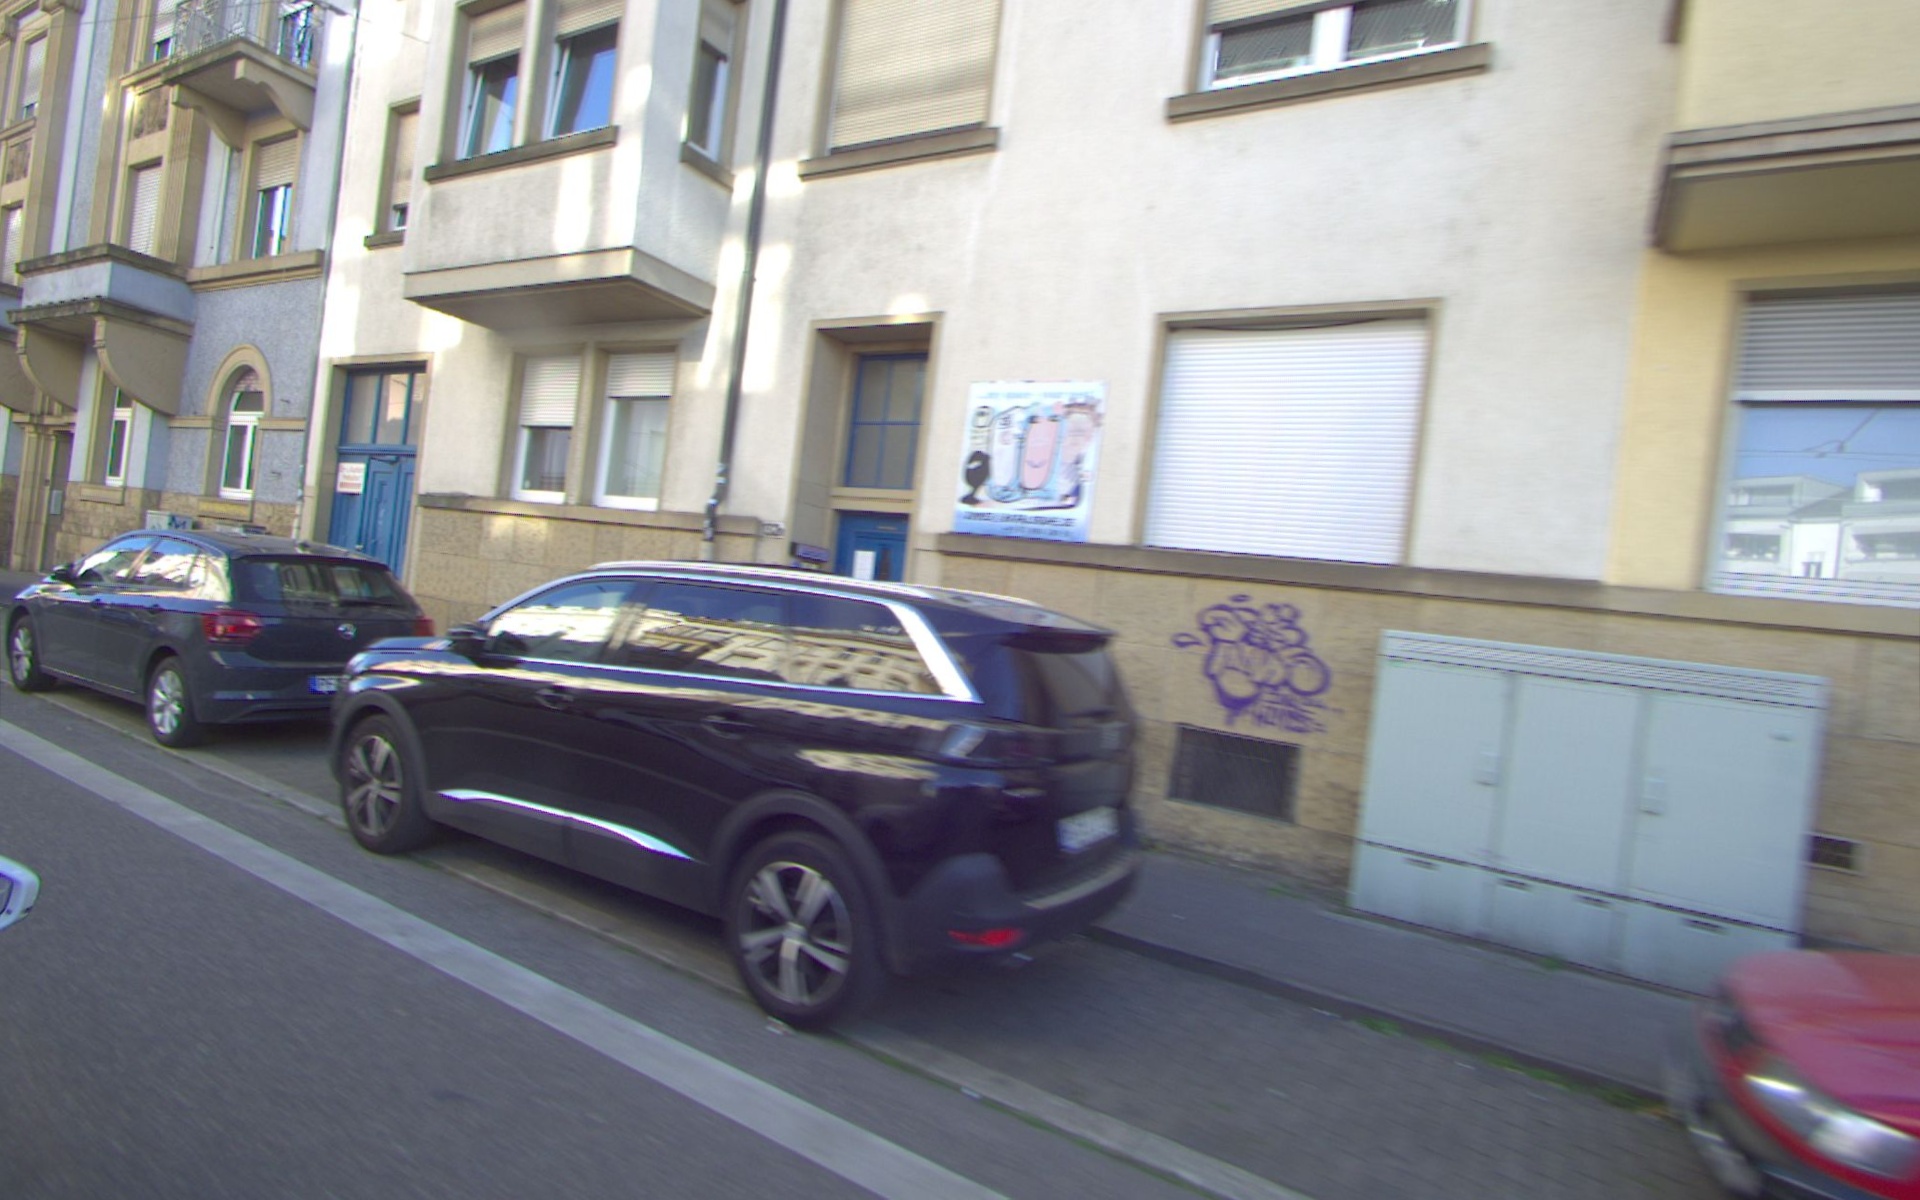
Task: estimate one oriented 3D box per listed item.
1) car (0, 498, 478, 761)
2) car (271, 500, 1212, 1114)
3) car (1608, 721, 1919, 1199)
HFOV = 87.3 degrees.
[{"bbox_3d":[-5.900,0.147,7.977,3.965,1.459,1.740,7,-1,31],"label":"car"},{"bbox_3d":[-1.302,0.588,5.055,4.487,1.685,1.861,7,-1,33],"label":"car"},{"bbox_3d":[4.030,1.337,1.834,4.633,1.473,1.861,7,-1,33],"label":"car"}]
